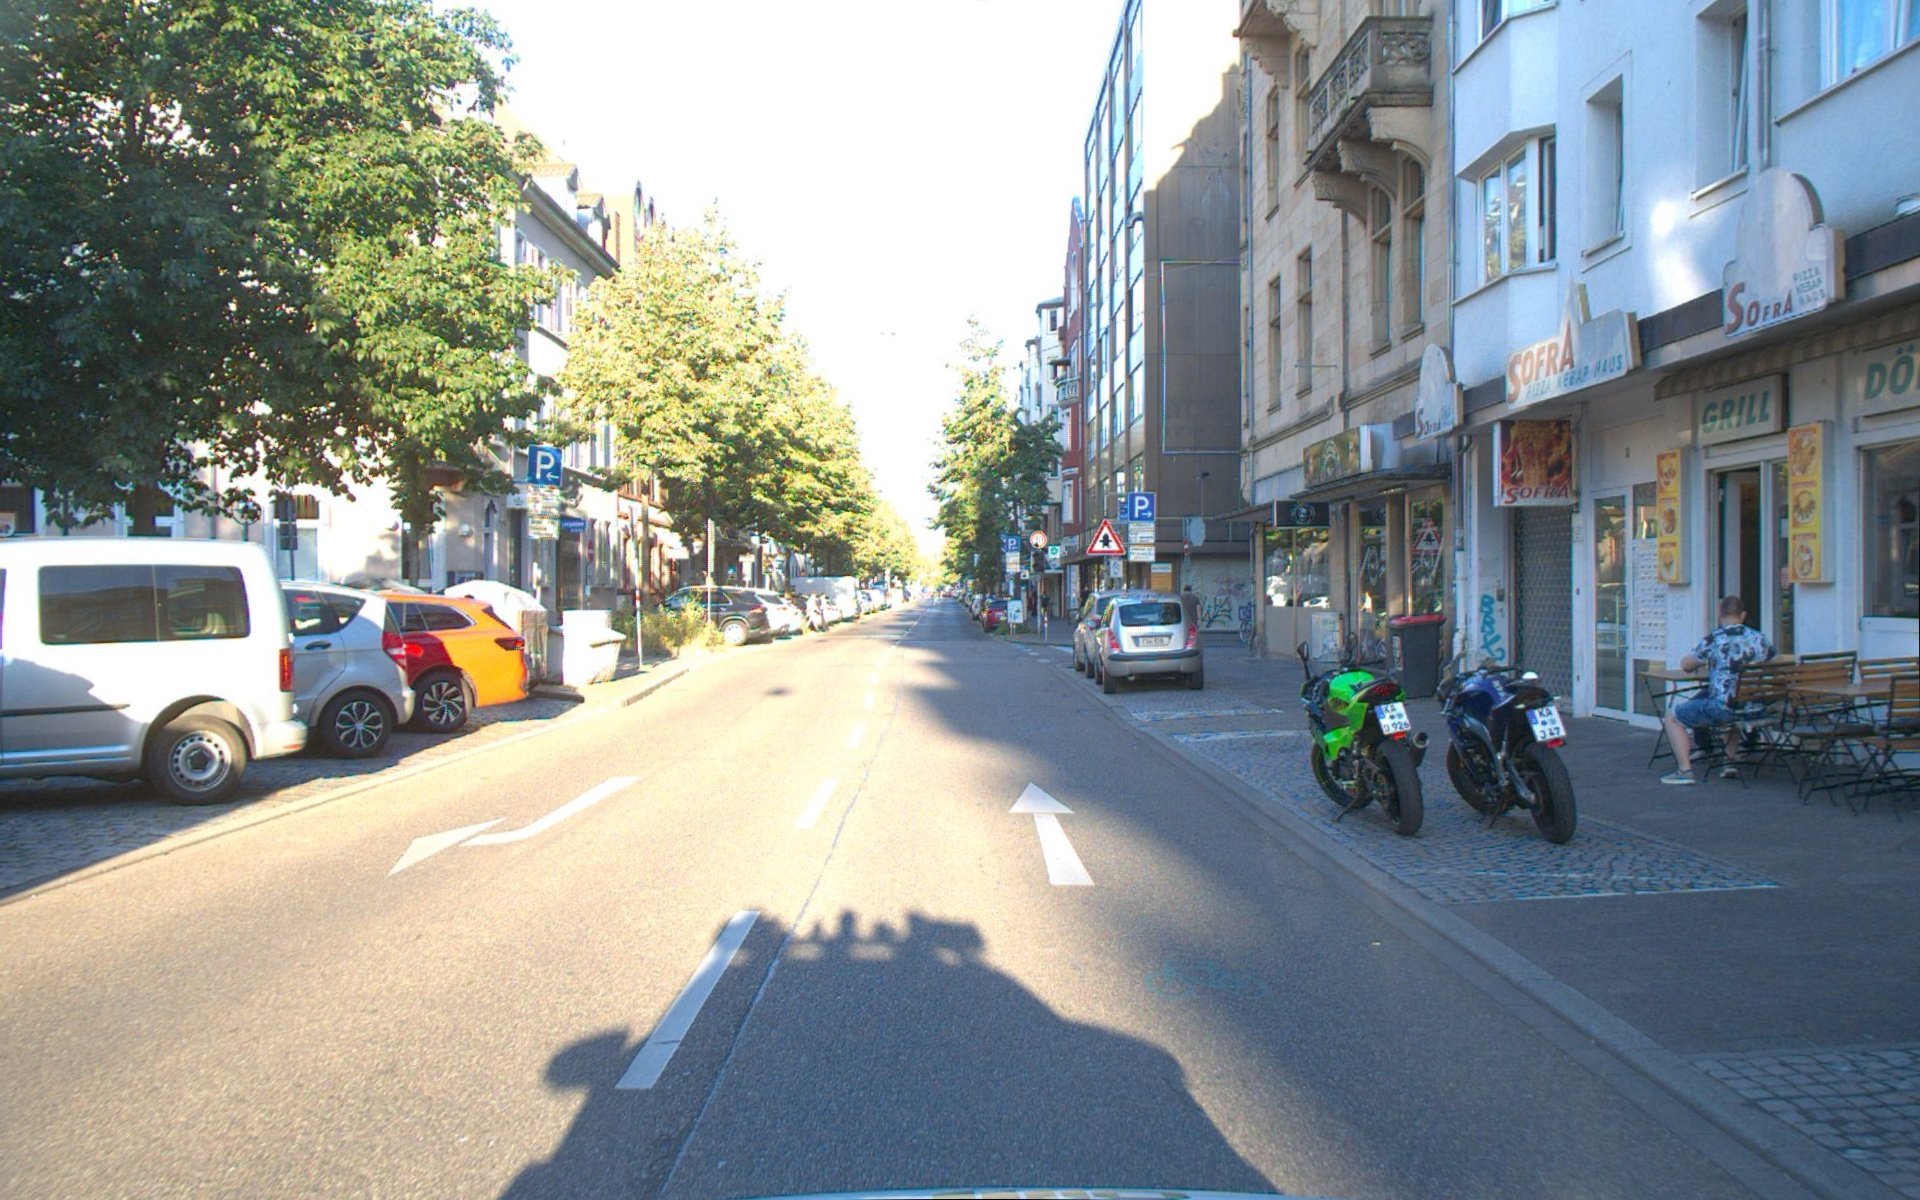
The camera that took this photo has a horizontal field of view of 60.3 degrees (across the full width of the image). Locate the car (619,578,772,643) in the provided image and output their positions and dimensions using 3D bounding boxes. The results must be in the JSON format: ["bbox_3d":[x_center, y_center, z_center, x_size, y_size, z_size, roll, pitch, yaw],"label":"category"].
[{"bbox_3d":[-8.101,0.344,51.004,4.359,1.867,2.033,1,-2,-1],"label":"car"}]

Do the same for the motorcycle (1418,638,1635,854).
[{"bbox_3d":[3.519,0.855,10.485,0.576,1.143,2.210,0,1,-1],"label":"motorcycle"}]

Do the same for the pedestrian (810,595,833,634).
[{"bbox_3d":[-6.304,0.661,75.288,0.717,1.712,0.746,1,0,-41],"label":"pedestrian"}]

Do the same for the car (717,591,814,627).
[{"bbox_3d":[-9.204,0.425,78.403,4.337,1.529,2.000,2,0,-1],"label":"car"}]

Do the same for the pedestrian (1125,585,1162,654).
[{"bbox_3d":[4.547,0.478,41.065,0.740,1.669,1.259,1,0,-1],"label":"pedestrian"}]

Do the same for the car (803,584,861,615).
[{"bbox_3d":[-8.338,-0.053,108.077,3.664,1.891,2.000,1,0,-1],"label":"car"}]

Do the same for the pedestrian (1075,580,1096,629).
[{"bbox_3d":[4.885,0.174,64.286,0.700,1.898,0.679,-1,0,-4],"label":"pedestrian"}]

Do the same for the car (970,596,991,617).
[{"bbox_3d":[1.325,0.448,106.866,1.182,1.323,2.659,1,0,-3],"label":"car"}]

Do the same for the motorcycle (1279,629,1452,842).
[{"bbox_3d":[2.711,0.853,11.277,0.576,1.221,2.210,-1,1,-1],"label":"motorcycle"}]

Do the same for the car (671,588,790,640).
[{"bbox_3d":[-8.017,0.473,57.979,3.909,1.738,1.833,1,1,-1],"label":"car"}]

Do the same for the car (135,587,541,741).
[{"bbox_3d":[-6.826,0.619,18.189,3.945,1.512,1.980,0,0,-30],"label":"car"}]

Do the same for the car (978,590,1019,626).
[{"bbox_3d":[1.711,0.364,74.786,1.545,1.569,3.394,-2,0,-3],"label":"car"}]

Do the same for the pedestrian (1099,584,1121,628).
[{"bbox_3d":[5.816,0.225,64.266,0.750,1.718,0.786,0,0,-3],"label":"pedestrian"}]

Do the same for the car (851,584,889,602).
[{"bbox_3d":[-8.919,-0.691,164.005,3.664,1.738,2.000,1,1,-1],"label":"car"}]

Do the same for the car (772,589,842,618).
[{"bbox_3d":[-8.387,0.193,91.041,3.664,1.475,2.000,1,0,-1],"label":"car"}]

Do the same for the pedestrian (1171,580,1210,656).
[{"bbox_3d":[5.612,0.427,40.377,0.740,1.798,1.222,1,0,-1],"label":"pedestrian"}]

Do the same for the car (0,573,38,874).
[{"bbox_3d":[-6.814,0.586,7.902,3.961,1.518,1.824,1,0,-39],"label":"car"}]

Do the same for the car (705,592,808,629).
[{"bbox_3d":[-8.993,0.465,73.467,4.336,1.627,2.000,0,0,-1],"label":"car"}]

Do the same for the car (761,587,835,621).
[{"bbox_3d":[-8.410,0.200,86.052,3.664,1.624,2.000,1,0,-1],"label":"car"}]

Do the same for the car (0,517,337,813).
[{"bbox_3d":[-6.620,0.403,11.474,3.957,1.911,1.847,0,1,-37],"label":"car"}]

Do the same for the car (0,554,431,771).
[{"bbox_3d":[-6.964,0.512,14.721,3.956,1.725,1.727,1,0,-37],"label":"car"}]

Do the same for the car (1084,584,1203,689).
[{"bbox_3d":[3.039,0.559,28.066,1.645,1.588,4.001,-2,1,2],"label":"car"}]

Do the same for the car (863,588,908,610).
[{"bbox_3d":[-6.204,-0.060,137.559,3.664,1.738,2.000,1,1,-1],"label":"car"}]

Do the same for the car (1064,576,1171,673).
[{"bbox_3d":[3.061,0.434,32.777,1.662,1.800,3.999,0,1,-1],"label":"car"}]

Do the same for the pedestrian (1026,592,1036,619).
[{"bbox_3d":[4.336,0.325,101.144,0.523,1.650,0.534,1,0,0],"label":"pedestrian"}]

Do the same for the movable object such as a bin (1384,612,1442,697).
[{"bbox_3d":[6.101,0.724,22.291,0.583,1.103,0.664,1,0,0],"label":"movable object such as a bin"}]

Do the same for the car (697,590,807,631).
[{"bbox_3d":[-8.259,0.427,65.941,4.090,1.533,1.999,1,0,-1],"label":"car"}]

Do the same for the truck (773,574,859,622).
[{"bbox_3d":[-8.444,-0.100,97.404,4.841,2.660,2.000,1,0,-1],"label":"truck"}]

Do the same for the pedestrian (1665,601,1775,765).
[{"bbox_3d":[6.167,0.656,13.405,0.727,1.241,0.790,-2,1,29],"label":"pedestrian"}]

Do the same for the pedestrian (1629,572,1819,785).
[{"bbox_3d":[5.685,0.558,12.369,0.936,1.512,0.992,1,0,-1],"label":"pedestrian"}]

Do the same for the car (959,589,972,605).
[{"bbox_3d":[0.570,-0.304,177.738,1.283,1.628,2.659,1,0,-3],"label":"car"}]

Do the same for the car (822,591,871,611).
[{"bbox_3d":[-8.909,0.068,130.224,3.664,1.519,2.000,1,0,-1],"label":"car"}]

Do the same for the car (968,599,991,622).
[{"bbox_3d":[1.115,0.620,96.597,1.182,1.323,2.659,1,0,-3],"label":"car"}]
